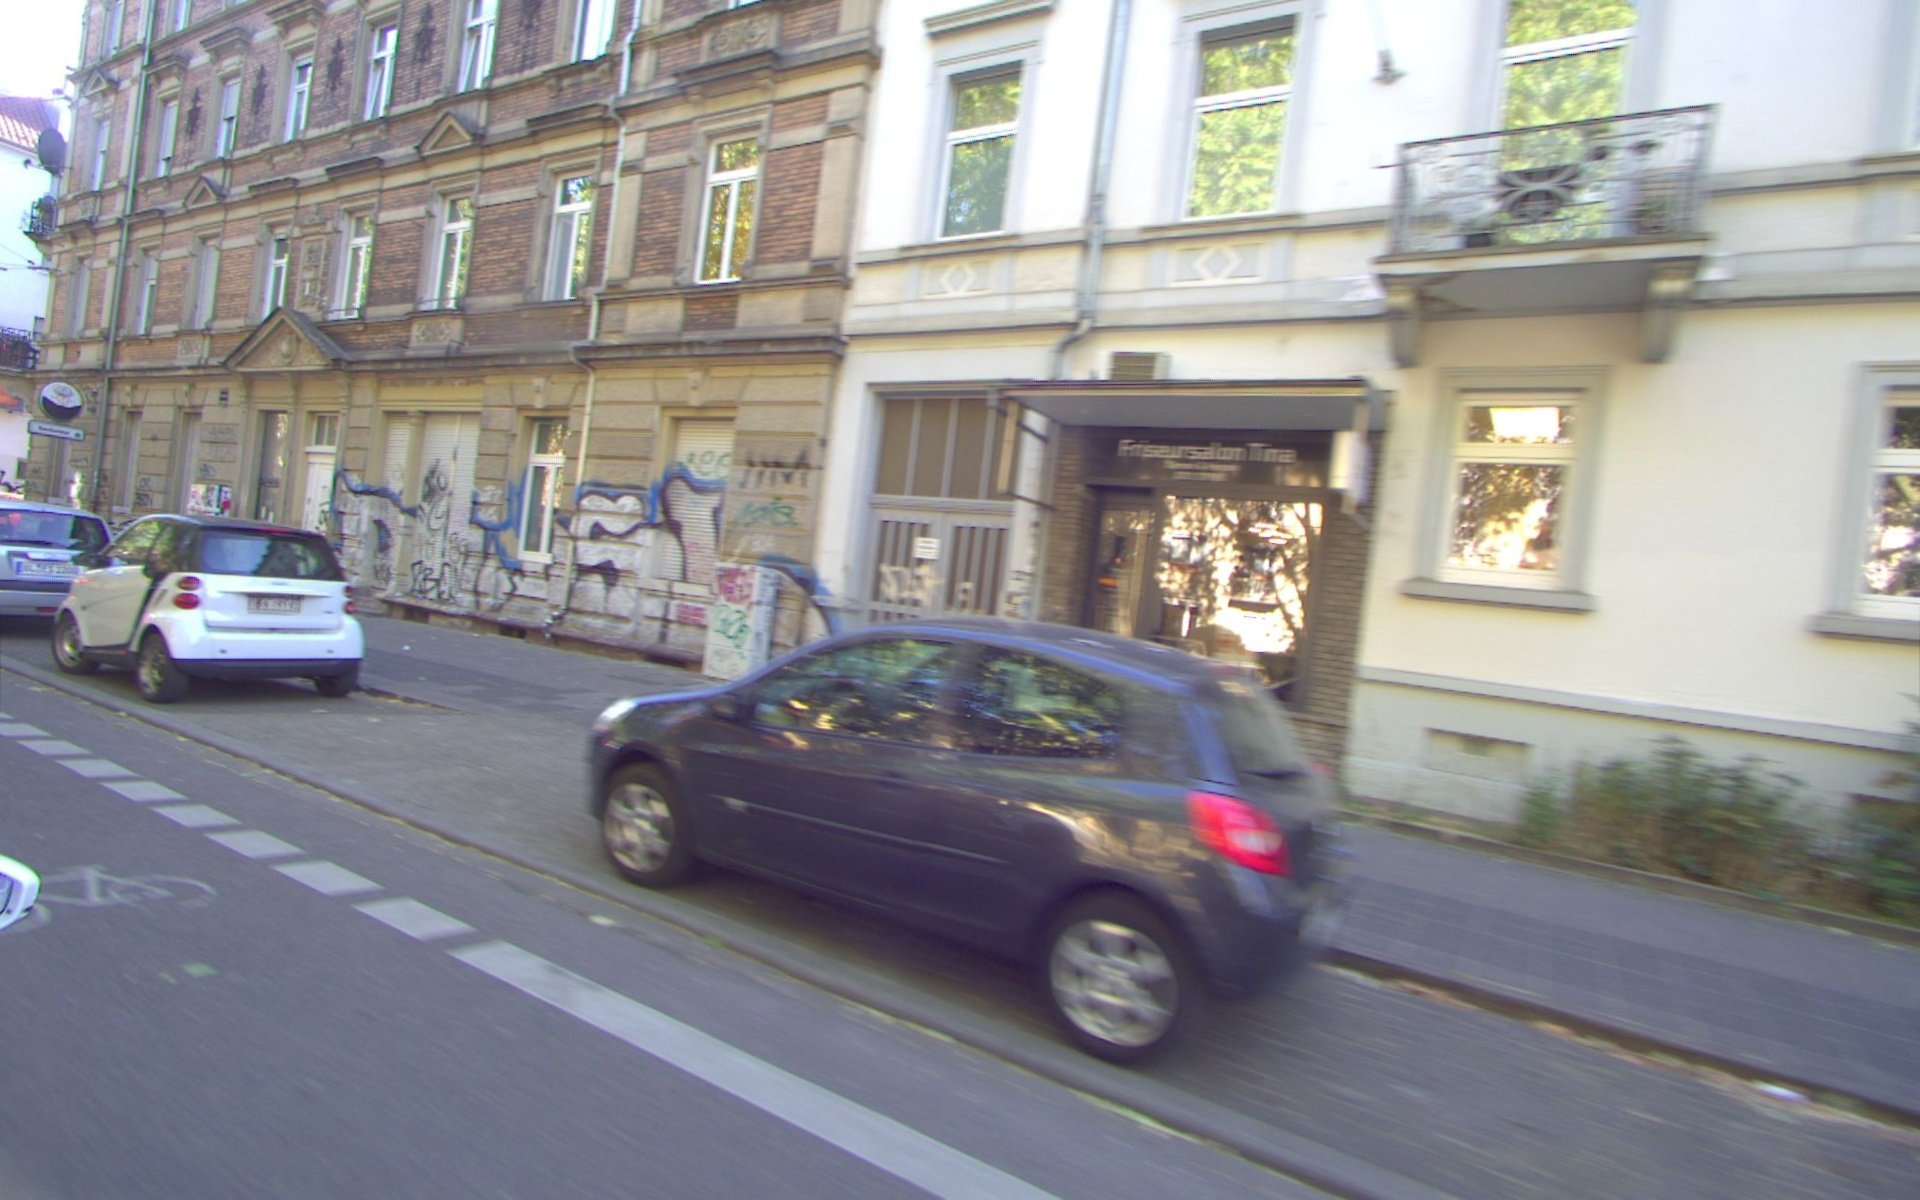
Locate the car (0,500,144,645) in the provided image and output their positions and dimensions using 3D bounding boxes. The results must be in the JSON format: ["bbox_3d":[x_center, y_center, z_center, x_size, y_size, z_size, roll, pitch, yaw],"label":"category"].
[{"bbox_3d":[-11.383,-0.418,11.917,3.639,1.475,1.704,7,2,35],"label":"car"}]

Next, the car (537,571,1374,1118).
[{"bbox_3d":[-0.142,0.799,4.971,3.702,1.503,1.711,6,2,32],"label":"car"}]

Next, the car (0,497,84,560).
[{"bbox_3d":[-32.772,-2.605,33.936,1.845,1.819,4.387,7,-2,31],"label":"car"}]

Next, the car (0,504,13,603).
[{"bbox_3d":[-15.312,-0.846,14.312,3.869,1.356,1.809,6,2,33],"label":"car"}]

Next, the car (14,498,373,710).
[{"bbox_3d":[-7.142,-0.018,9.355,2.989,1.537,1.568,6,2,30],"label":"car"}]
